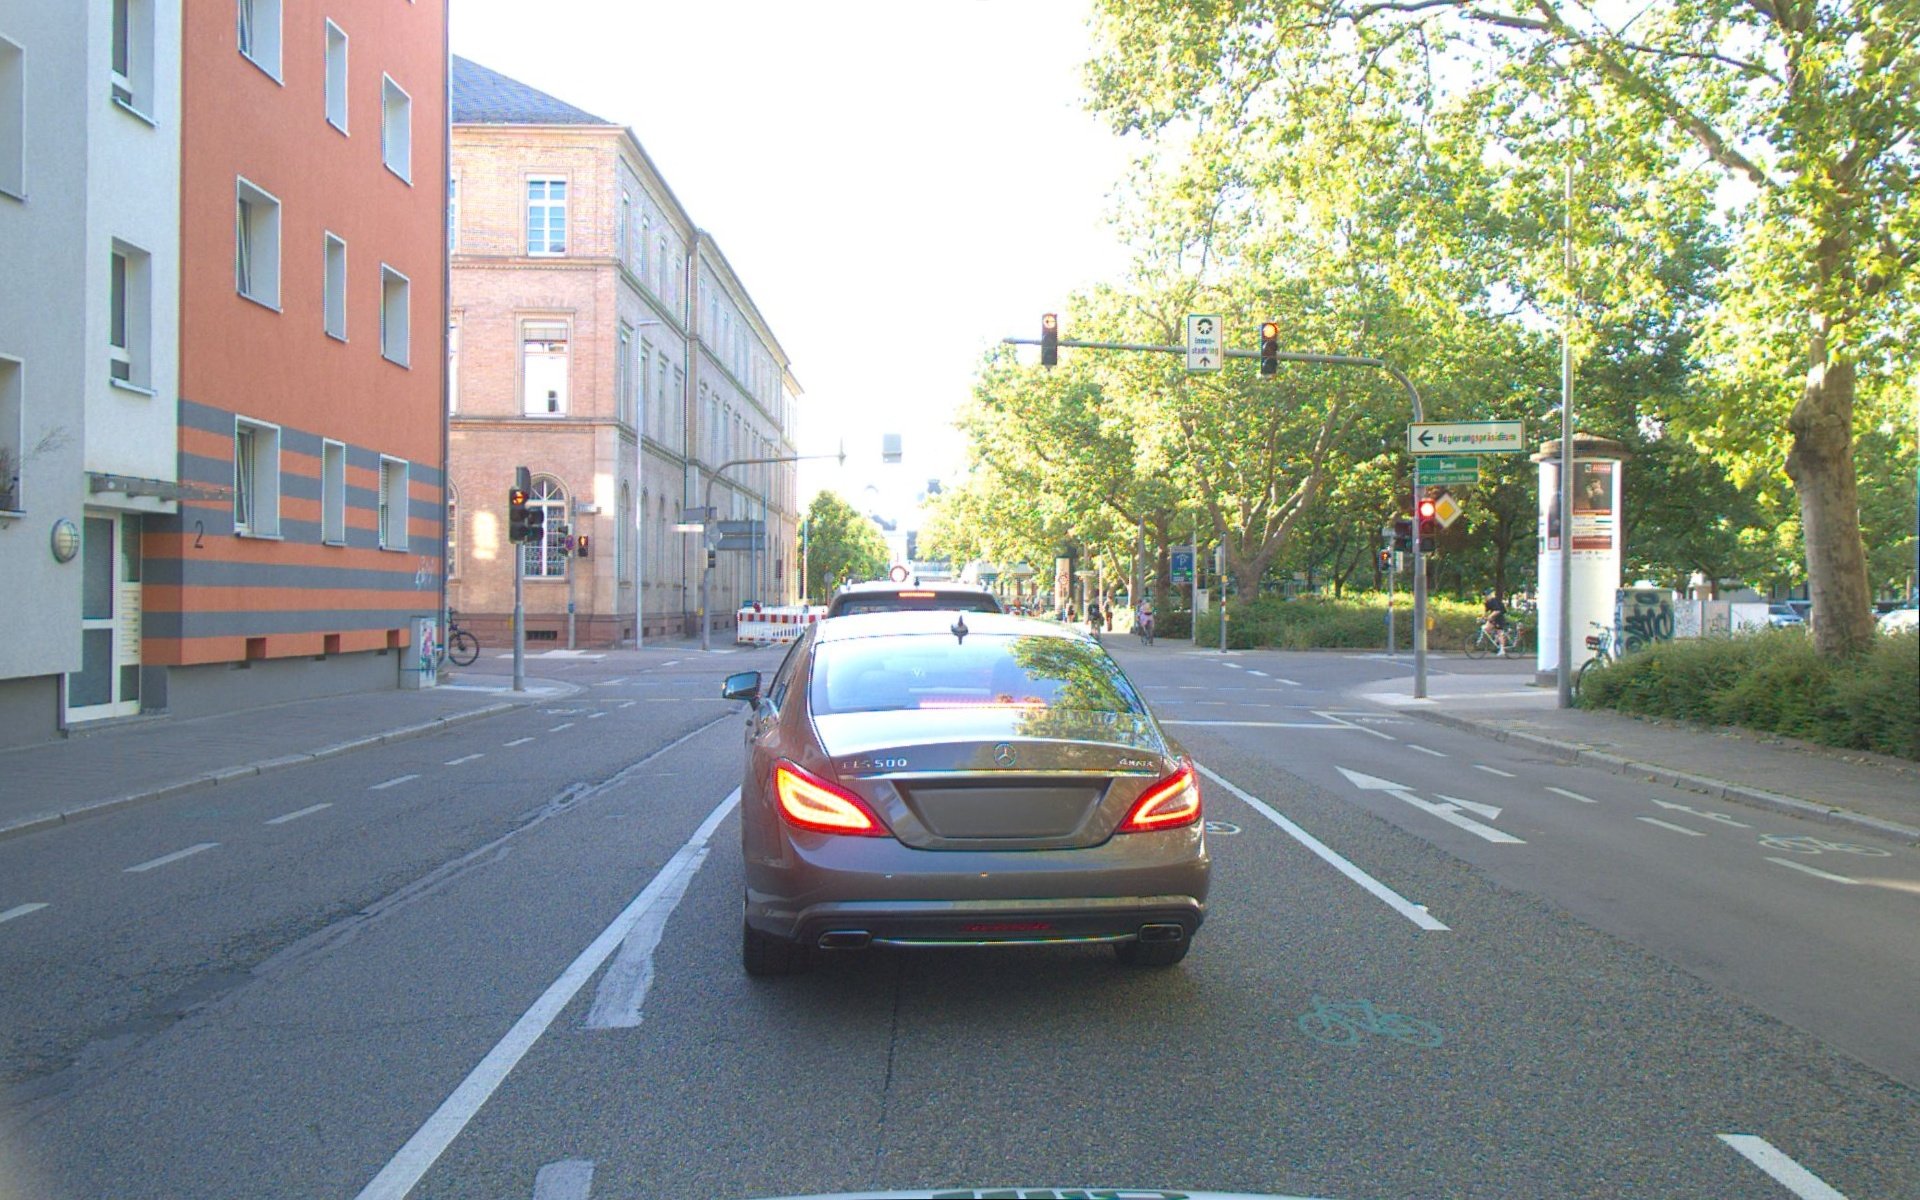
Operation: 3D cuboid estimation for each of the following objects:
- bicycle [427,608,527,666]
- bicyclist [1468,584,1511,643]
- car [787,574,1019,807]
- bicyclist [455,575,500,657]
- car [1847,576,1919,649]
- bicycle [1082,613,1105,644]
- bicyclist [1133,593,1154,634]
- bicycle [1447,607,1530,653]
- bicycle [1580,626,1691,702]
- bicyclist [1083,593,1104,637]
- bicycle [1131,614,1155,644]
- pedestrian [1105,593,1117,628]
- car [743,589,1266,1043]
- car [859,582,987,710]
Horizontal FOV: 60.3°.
[{"bbox_3d":[-10.270,0.773,35.203,1.956,1.205,0.589,0,0,0],"label":"bicycle"},{"bbox_3d":[14.375,0.368,44.917,0.798,1.581,0.883,0,0,-10],"label":"bicyclist"},{"bbox_3d":[-0.474,0.647,13.724,1.647,1.653,3.839,0,0,-2],"label":"car"},{"bbox_3d":[-10.269,0.340,35.211,0.780,1.738,0.589,0,0,1],"label":"bicyclist"},{"bbox_3d":[25.342,0.324,42.622,3.912,1.815,2.001,0,0,4],"label":"car"},{"bbox_3d":[4.721,1.000,58.603,0.598,1.044,1.731,2,0,-1],"label":"bicycle"},{"bbox_3d":[6.467,0.473,58.354,0.588,1.426,0.931,2,0,-1],"label":"bicyclist"},{"bbox_3d":[14.356,0.811,44.922,1.961,1.205,0.883,0,0,-11],"label":"bicycle"},{"bbox_3d":[9.692,0.912,23.736,1.387,1.055,0.538,0,0,-5],"label":"bicycle"},{"bbox_3d":[4.737,0.522,58.599,0.598,1.542,0.889,2,0,-1],"label":"bicyclist"},{"bbox_3d":[6.454,1.010,58.382,0.588,1.002,1.881,2,0,-1],"label":"bicycle"},{"bbox_3d":[7.342,0.518,80.521,0.548,1.707,0.564,0,0,-1],"label":"pedestrian"},{"bbox_3d":[-0.109,0.718,7.760,1.787,1.502,4.346,0,0,-8],"label":"car"},{"bbox_3d":[-0.544,0.595,23.311,1.647,1.653,3.839,0,0,-2],"label":"car"}]
